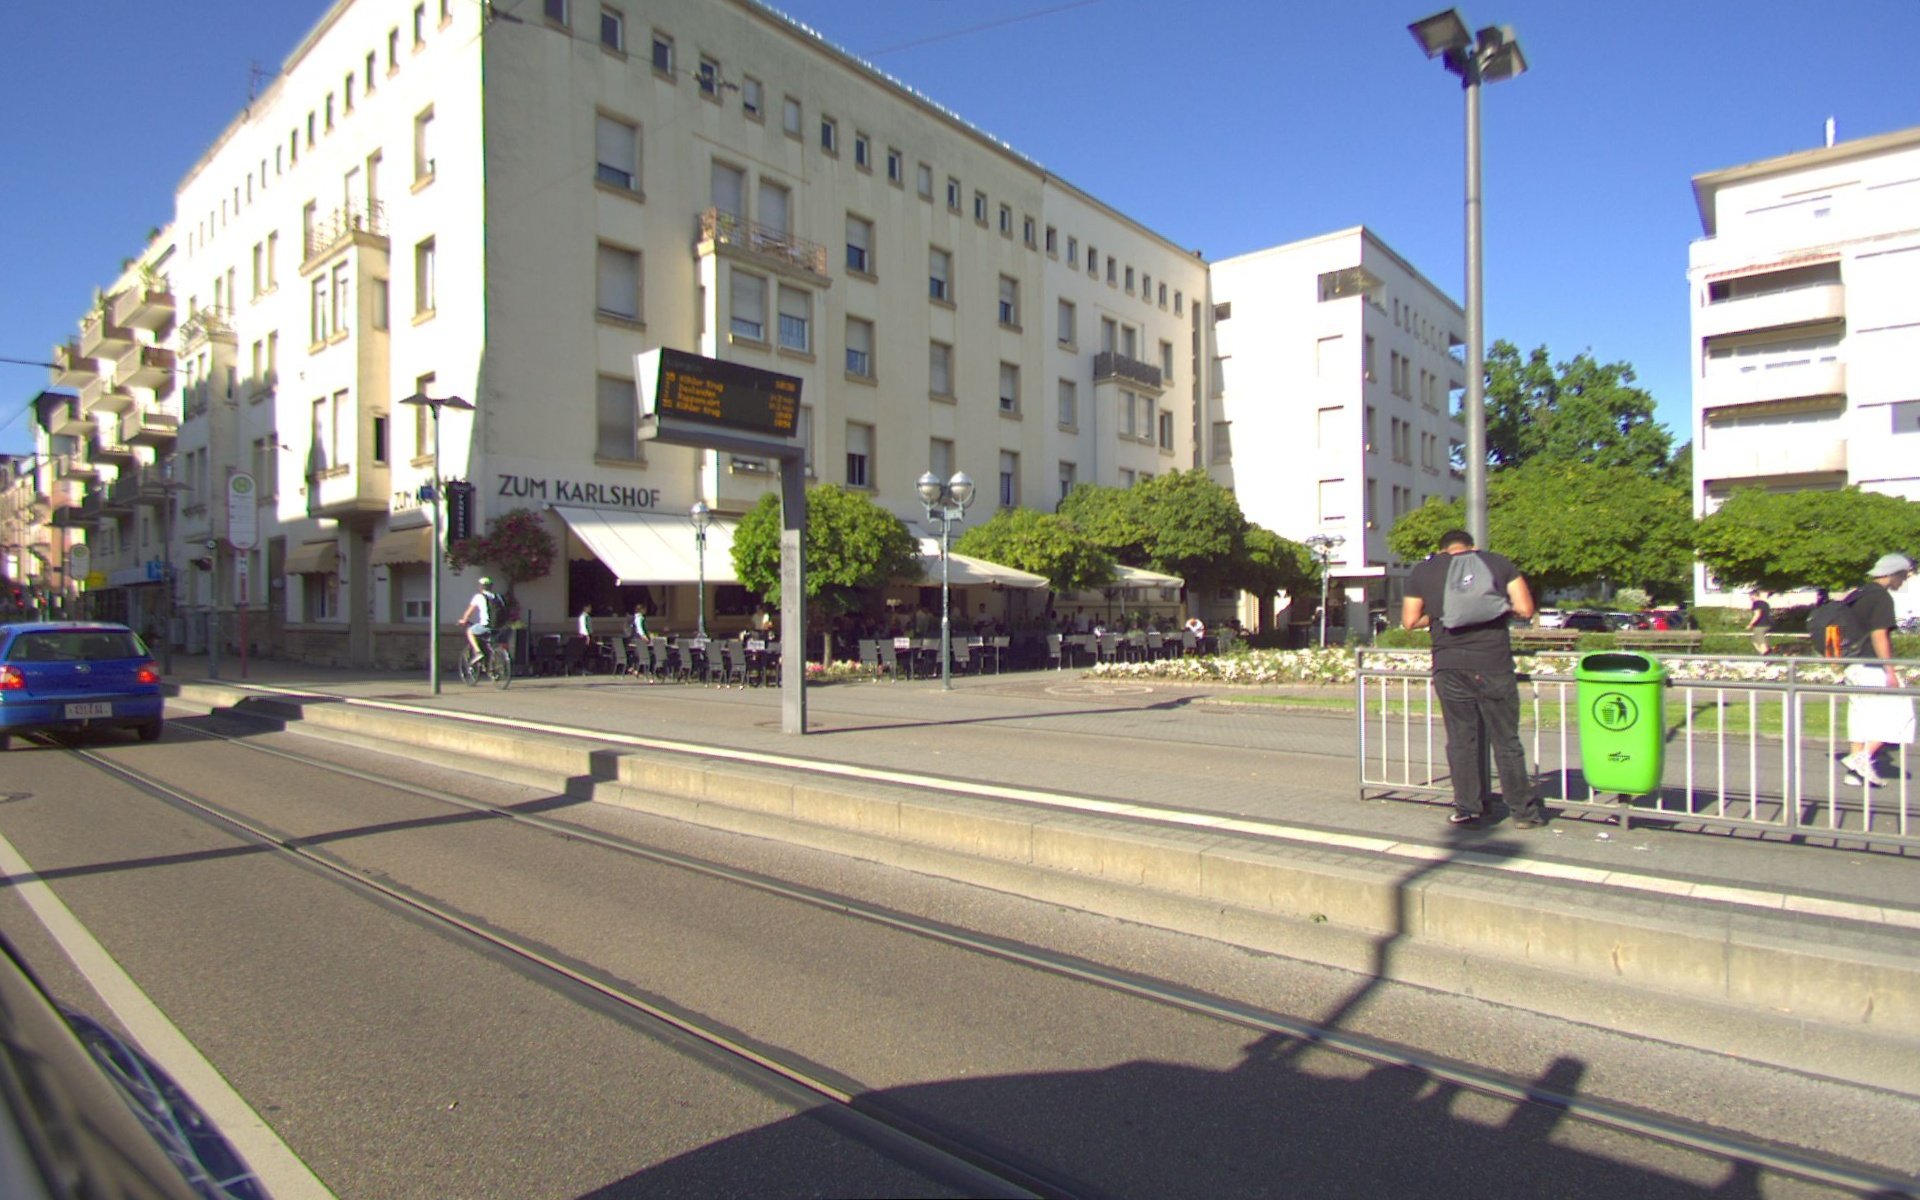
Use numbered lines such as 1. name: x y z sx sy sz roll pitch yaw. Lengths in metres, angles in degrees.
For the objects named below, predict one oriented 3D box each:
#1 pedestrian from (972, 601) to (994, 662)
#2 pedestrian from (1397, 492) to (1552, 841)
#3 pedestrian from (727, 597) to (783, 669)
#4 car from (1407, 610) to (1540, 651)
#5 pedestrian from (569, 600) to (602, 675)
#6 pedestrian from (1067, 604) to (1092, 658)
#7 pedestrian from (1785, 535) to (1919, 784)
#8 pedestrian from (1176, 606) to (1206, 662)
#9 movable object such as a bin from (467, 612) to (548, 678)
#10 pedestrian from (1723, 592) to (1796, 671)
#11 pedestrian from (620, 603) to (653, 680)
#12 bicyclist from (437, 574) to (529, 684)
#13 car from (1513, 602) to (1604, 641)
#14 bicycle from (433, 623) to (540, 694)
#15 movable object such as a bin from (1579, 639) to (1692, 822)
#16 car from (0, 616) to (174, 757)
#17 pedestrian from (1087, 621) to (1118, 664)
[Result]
1. pedestrian: 0.711 0.967 31.285 0.641 1.837 0.576 -1 -1 5
2. pedestrian: 2.758 0.339 5.431 0.607 1.731 0.542 -1 -3 43
3. pedestrian: -4.926 0.802 24.308 0.755 1.657 1.054 -5 -5 36
4. car: 17.610 1.038 34.790 3.713 1.310 1.973 -1 -1 41
5. pedestrian: -8.501 0.859 22.962 0.662 1.657 0.753 0 -4 -22
6. pedestrian: 3.965 1.044 33.470 0.677 1.750 0.671 -3 -4 14
7. pedestrian: 6.713 0.422 7.373 0.972 1.693 0.984 -1 -3 35
8. pedestrian: 7.306 1.081 31.989 0.710 1.750 0.673 -2 -4 1
9. movable object such as a bin: -9.998 0.969 22.372 1.127 1.410 1.302 -1 -1 40
10. pedestrian: 18.784 0.734 23.778 1.065 1.801 1.178 0 -1 -43
11. pedestrian: -7.185 0.922 22.472 0.662 1.657 0.679 -1 -4 -19
12. bicyclist: -8.121 0.487 17.245 1.092 1.807 0.996 -1 -1 33
13. car: 23.938 0.873 40.534 2.932 1.497 1.399 -1 -1 41
14. bicycle: -8.086 0.974 17.252 2.030 1.134 0.706 -1 -1 34
15. movable object such as a bin: 3.433 0.638 5.146 0.416 0.866 0.332 -2 -1 44
16. car: -11.480 0.980 12.770 3.996 1.499 1.650 -1 0 40
17. pedestrian: 4.320 1.284 30.663 0.672 1.280 0.636 -5 -5 36
